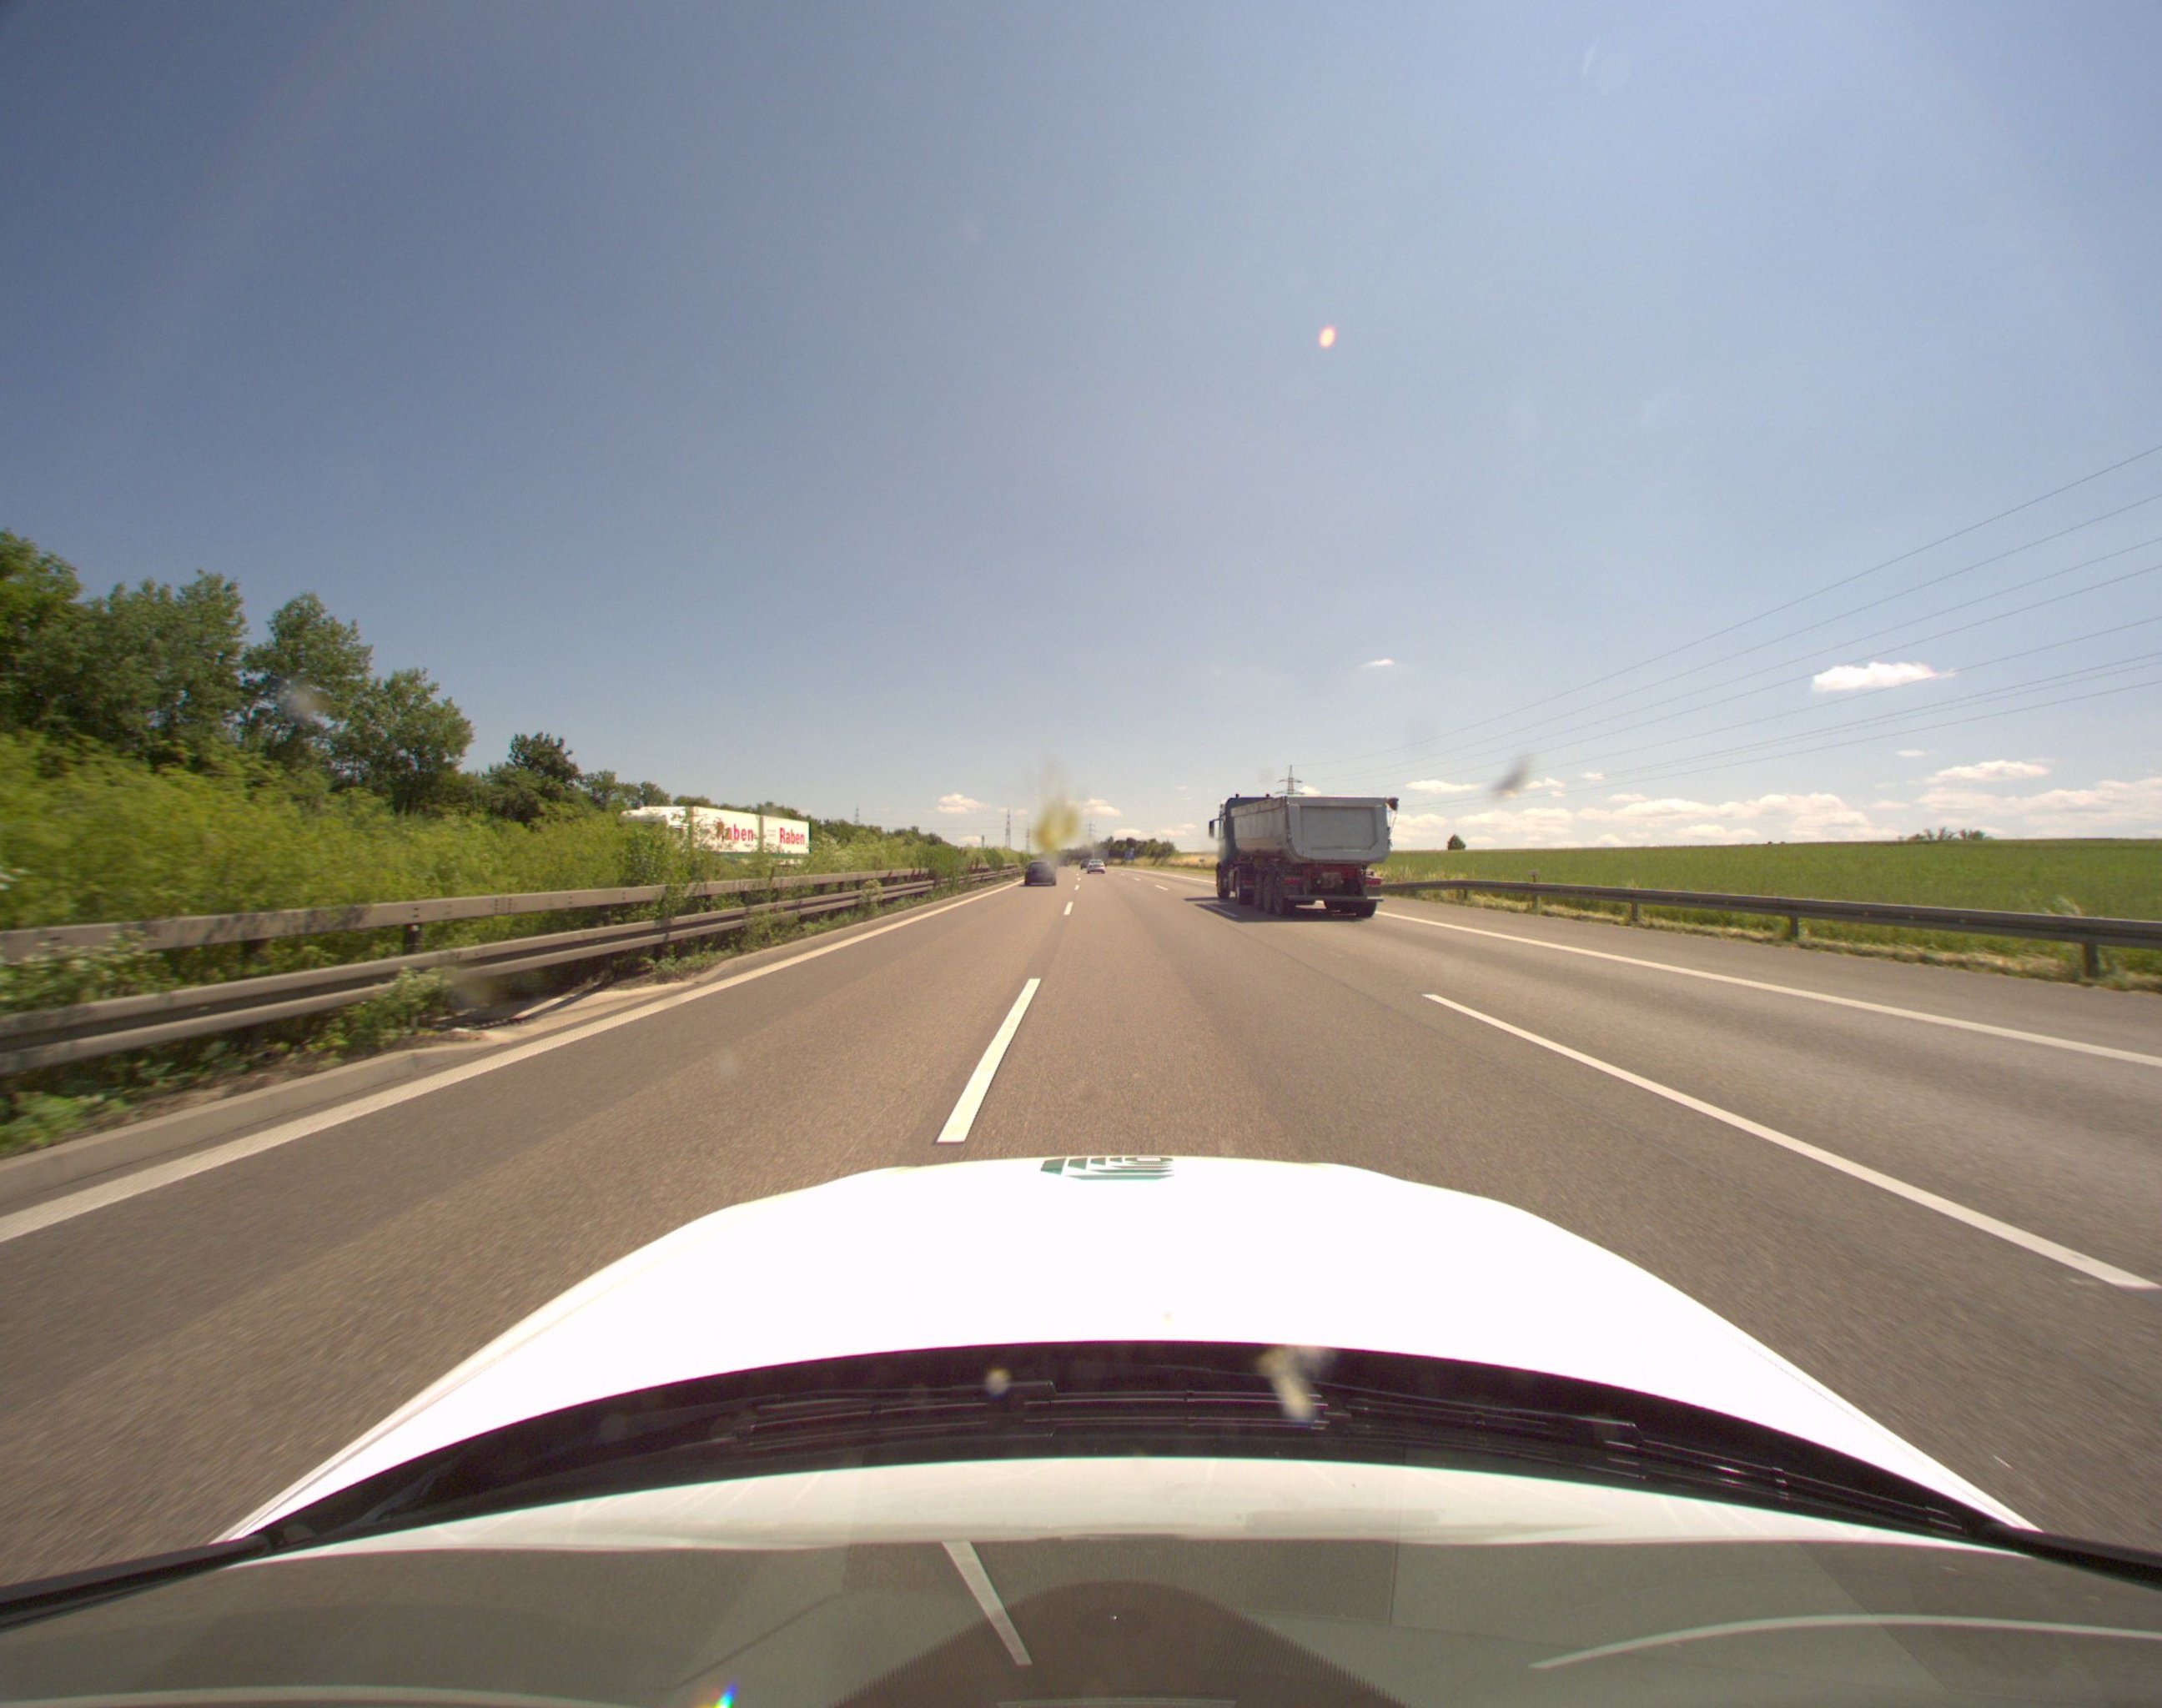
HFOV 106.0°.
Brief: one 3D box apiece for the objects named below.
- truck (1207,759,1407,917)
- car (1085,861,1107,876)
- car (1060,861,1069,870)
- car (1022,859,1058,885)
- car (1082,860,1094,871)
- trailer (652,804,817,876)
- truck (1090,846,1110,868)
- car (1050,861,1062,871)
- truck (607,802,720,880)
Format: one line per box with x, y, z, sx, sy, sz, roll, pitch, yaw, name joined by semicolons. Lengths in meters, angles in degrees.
6.363;-0.345;25.764;2.855;3.724;12.762;-1;0;1;truck
1.526;1.502;84.410;1.816;1.541;3.908;-1;0;-5;car
-3.516;2.383;174.449;1.896;1.926;3.998;-1;0;-1;car
-2.342;0.998;47.141;1.750;1.429;4.001;-1;0;2;car
1.061;1.727;124.994;1.832;1.541;3.915;-1;0;1;car
-19.190;-0.620;46.961;2.589;3.443;15.828;-1;0;0;trailer
3.477;0.575;151.050;3.211;3.924;9.056;0;-1;-1;truck
-4.698;2.180;151.282;1.986;1.860;4.002;-1;0;2;car
-19.319;-0.544;38.025;2.588;3.351;5.045;-1;-1;1;truck
